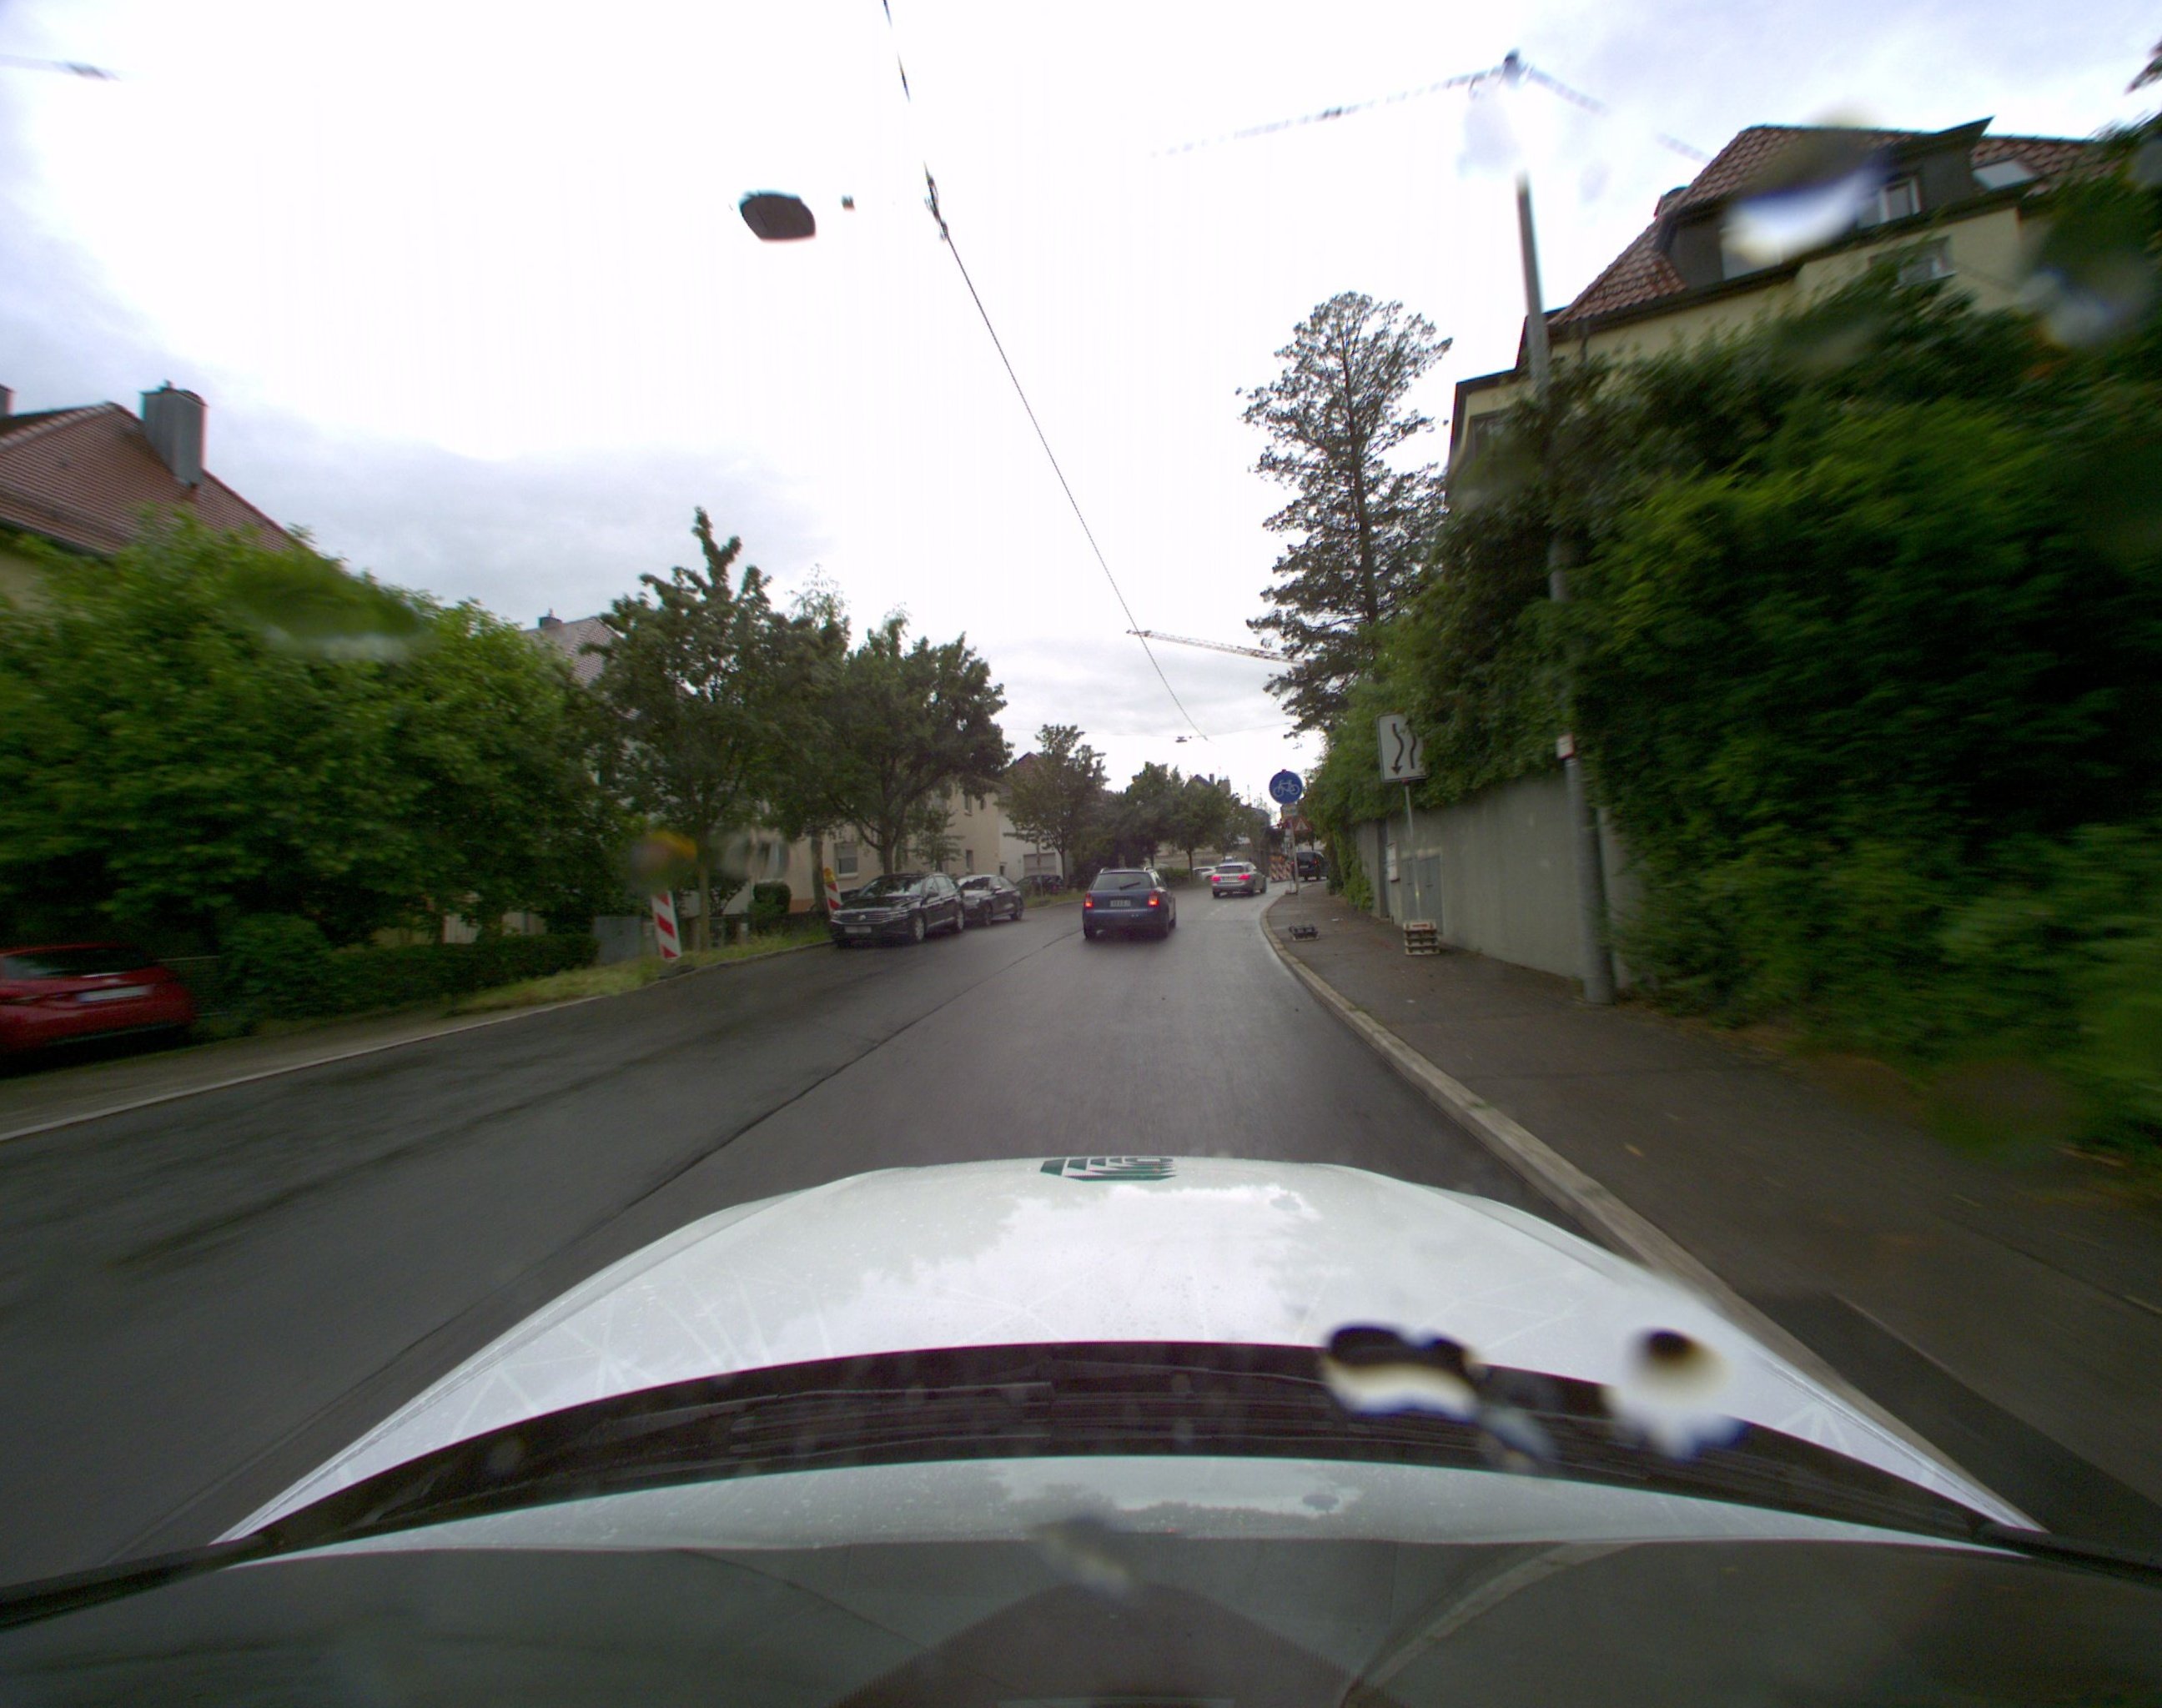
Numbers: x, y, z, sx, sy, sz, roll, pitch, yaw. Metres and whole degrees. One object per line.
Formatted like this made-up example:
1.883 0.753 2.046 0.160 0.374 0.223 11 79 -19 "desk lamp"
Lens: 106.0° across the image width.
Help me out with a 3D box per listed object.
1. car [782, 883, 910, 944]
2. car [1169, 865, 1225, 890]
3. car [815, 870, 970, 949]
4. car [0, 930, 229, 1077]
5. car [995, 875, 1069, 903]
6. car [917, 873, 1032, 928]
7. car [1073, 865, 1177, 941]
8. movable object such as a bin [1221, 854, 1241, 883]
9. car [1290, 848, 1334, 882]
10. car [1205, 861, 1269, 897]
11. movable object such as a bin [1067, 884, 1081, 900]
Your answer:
-8.846 2.247 30.686 4.202 1.504 1.924 -12 -5 23 "car"
9.840 1.992 68.979 4.159 1.604 1.961 -8 -4 24 "car"
-3.977 1.134 18.036 1.722 1.484 4.541 -2 -1 9 "car"
-12.946 1.952 9.677 3.898 1.394 1.782 -10 -3 6 "car"
-2.897 2.029 48.044 3.905 1.543 1.874 -1 0 23 "car"
-2.926 1.268 23.505 1.694 1.382 4.547 -2 -1 14 "car"
1.081 0.991 17.860 1.766 1.439 4.010 -2 -1 10 "car"
13.601 1.347 73.754 1.300 2.506 1.394 -5 -2 26 "movable object such as a bin"
14.215 0.657 50.054 1.714 1.894 4.079 -4 -2 27 "car"
6.923 1.067 35.877 1.892 1.388 4.373 -3 -1 22 "car"
-0.434 2.303 49.286 0.663 0.921 0.595 -3 -1 23 "movable object such as a bin"
